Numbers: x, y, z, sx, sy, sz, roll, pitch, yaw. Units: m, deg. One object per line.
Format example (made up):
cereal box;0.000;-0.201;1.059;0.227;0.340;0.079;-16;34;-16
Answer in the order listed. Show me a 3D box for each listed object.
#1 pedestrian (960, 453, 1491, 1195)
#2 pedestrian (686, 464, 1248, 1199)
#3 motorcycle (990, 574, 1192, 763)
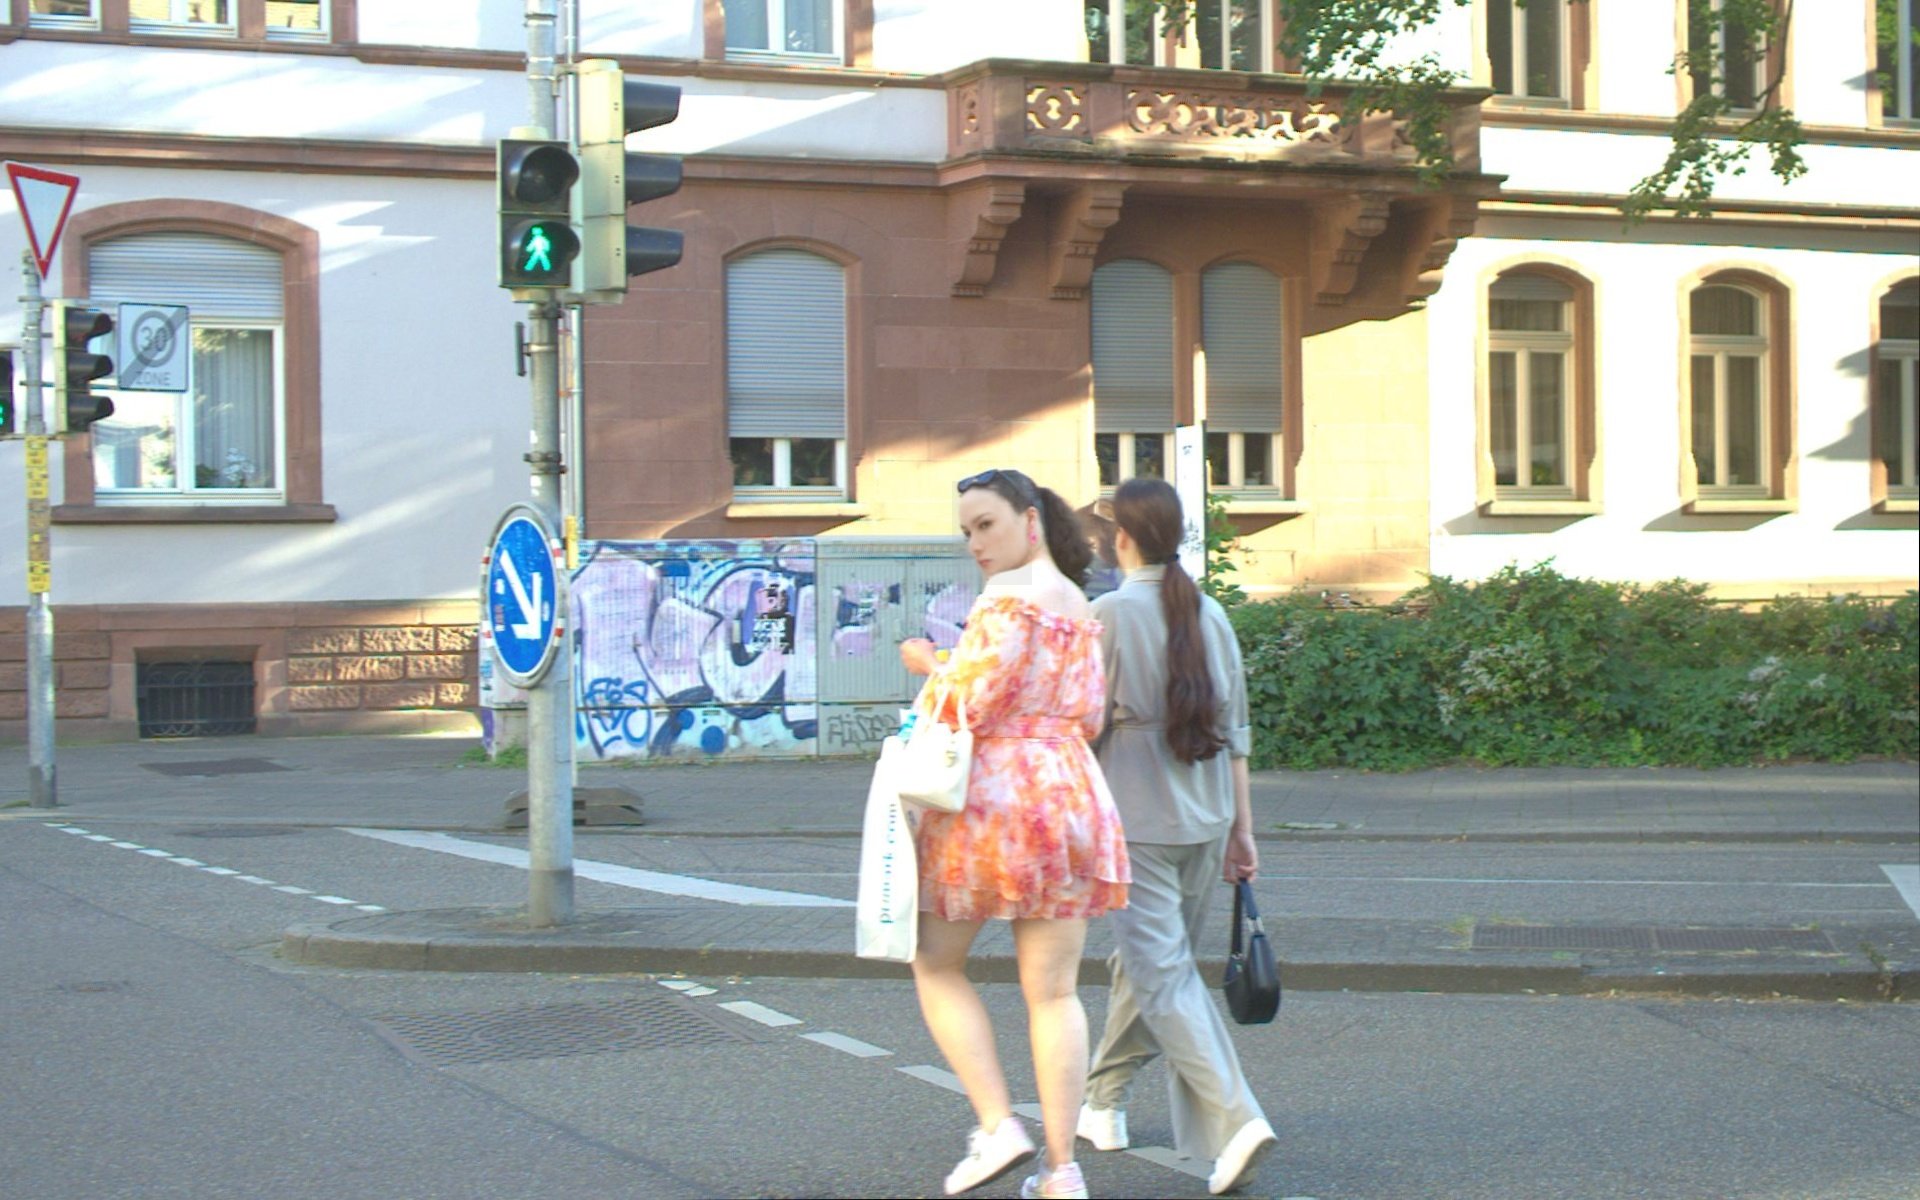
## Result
pedestrian;0.644;0.502;8.493;0.867;1.692;0.984;-1;1;-35
pedestrian;0.004;0.550;7.890;0.867;1.692;0.984;-1;1;-35
motorcycle;0.905;0.456;24.458;0.840;1.261;2.111;-1;1;-15
